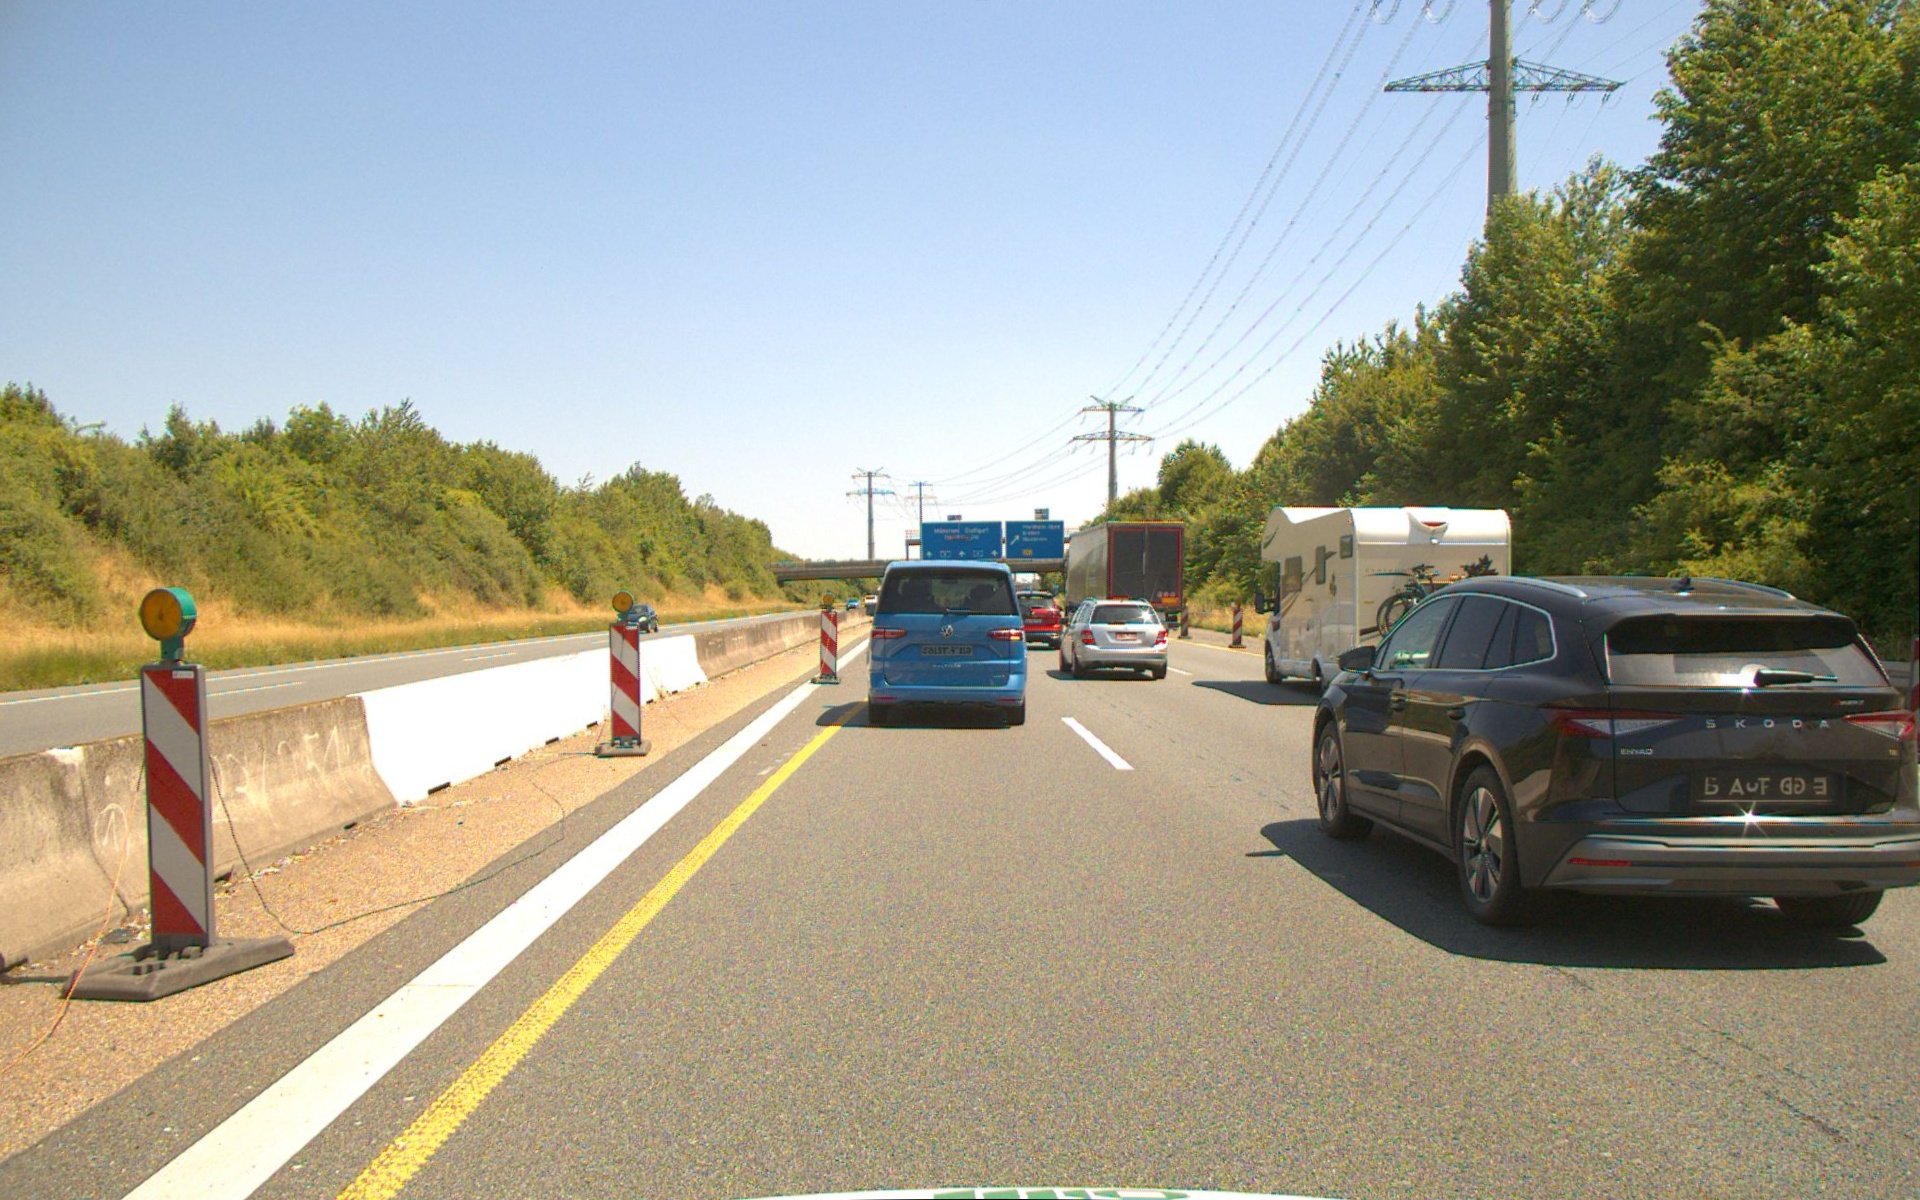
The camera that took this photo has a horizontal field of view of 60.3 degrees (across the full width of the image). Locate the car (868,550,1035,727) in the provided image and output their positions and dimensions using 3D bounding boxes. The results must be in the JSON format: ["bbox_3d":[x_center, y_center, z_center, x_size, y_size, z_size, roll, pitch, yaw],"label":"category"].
[{"bbox_3d":[-0.173,0.427,20.628,1.837,1.945,4.358,1,0,-2],"label":"car"}]

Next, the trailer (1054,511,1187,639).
[{"bbox_3d":[5.593,-0.826,60.206,2.728,4.118,13.102,1,0,-4],"label":"trailer"}]

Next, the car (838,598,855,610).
[{"bbox_3d":[-14.649,0.517,213.785,1.953,1.422,4.000,-2,0,0],"label":"car"}]

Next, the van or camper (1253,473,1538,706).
[{"bbox_3d":[6.549,-0.141,26.097,2.321,3.096,7.631,1,0,-1],"label":"van or camper"}]

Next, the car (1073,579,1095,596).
[{"bbox_3d":[13.242,-1.297,176.576,1.837,1.700,4.358,1,0,-2],"label":"car"}]

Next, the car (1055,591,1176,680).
[{"bbox_3d":[2.898,0.628,31.660,1.735,1.544,4.358,1,0,-2],"label":"car"}]

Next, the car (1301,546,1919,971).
[{"bbox_3d":[3.209,0.640,8.863,1.667,1.684,4.427,1,0,-2],"label":"car"}]

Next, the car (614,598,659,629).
[{"bbox_3d":[-16.567,0.665,84.858,1.674,1.490,3.848,-2,0,-2],"label":"car"}]

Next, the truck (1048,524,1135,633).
[{"bbox_3d":[5.207,-0.831,66.304,2.678,4.118,5.790,1,0,-3],"label":"truck"}]

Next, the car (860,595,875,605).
[{"bbox_3d":[-14.140,-0.008,252.248,1.953,1.422,4.000,-2,0,0],"label":"car"}]

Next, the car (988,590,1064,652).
[{"bbox_3d":[1.867,0.576,48.010,1.837,1.700,4.358,1,0,-2],"label":"car"}]
